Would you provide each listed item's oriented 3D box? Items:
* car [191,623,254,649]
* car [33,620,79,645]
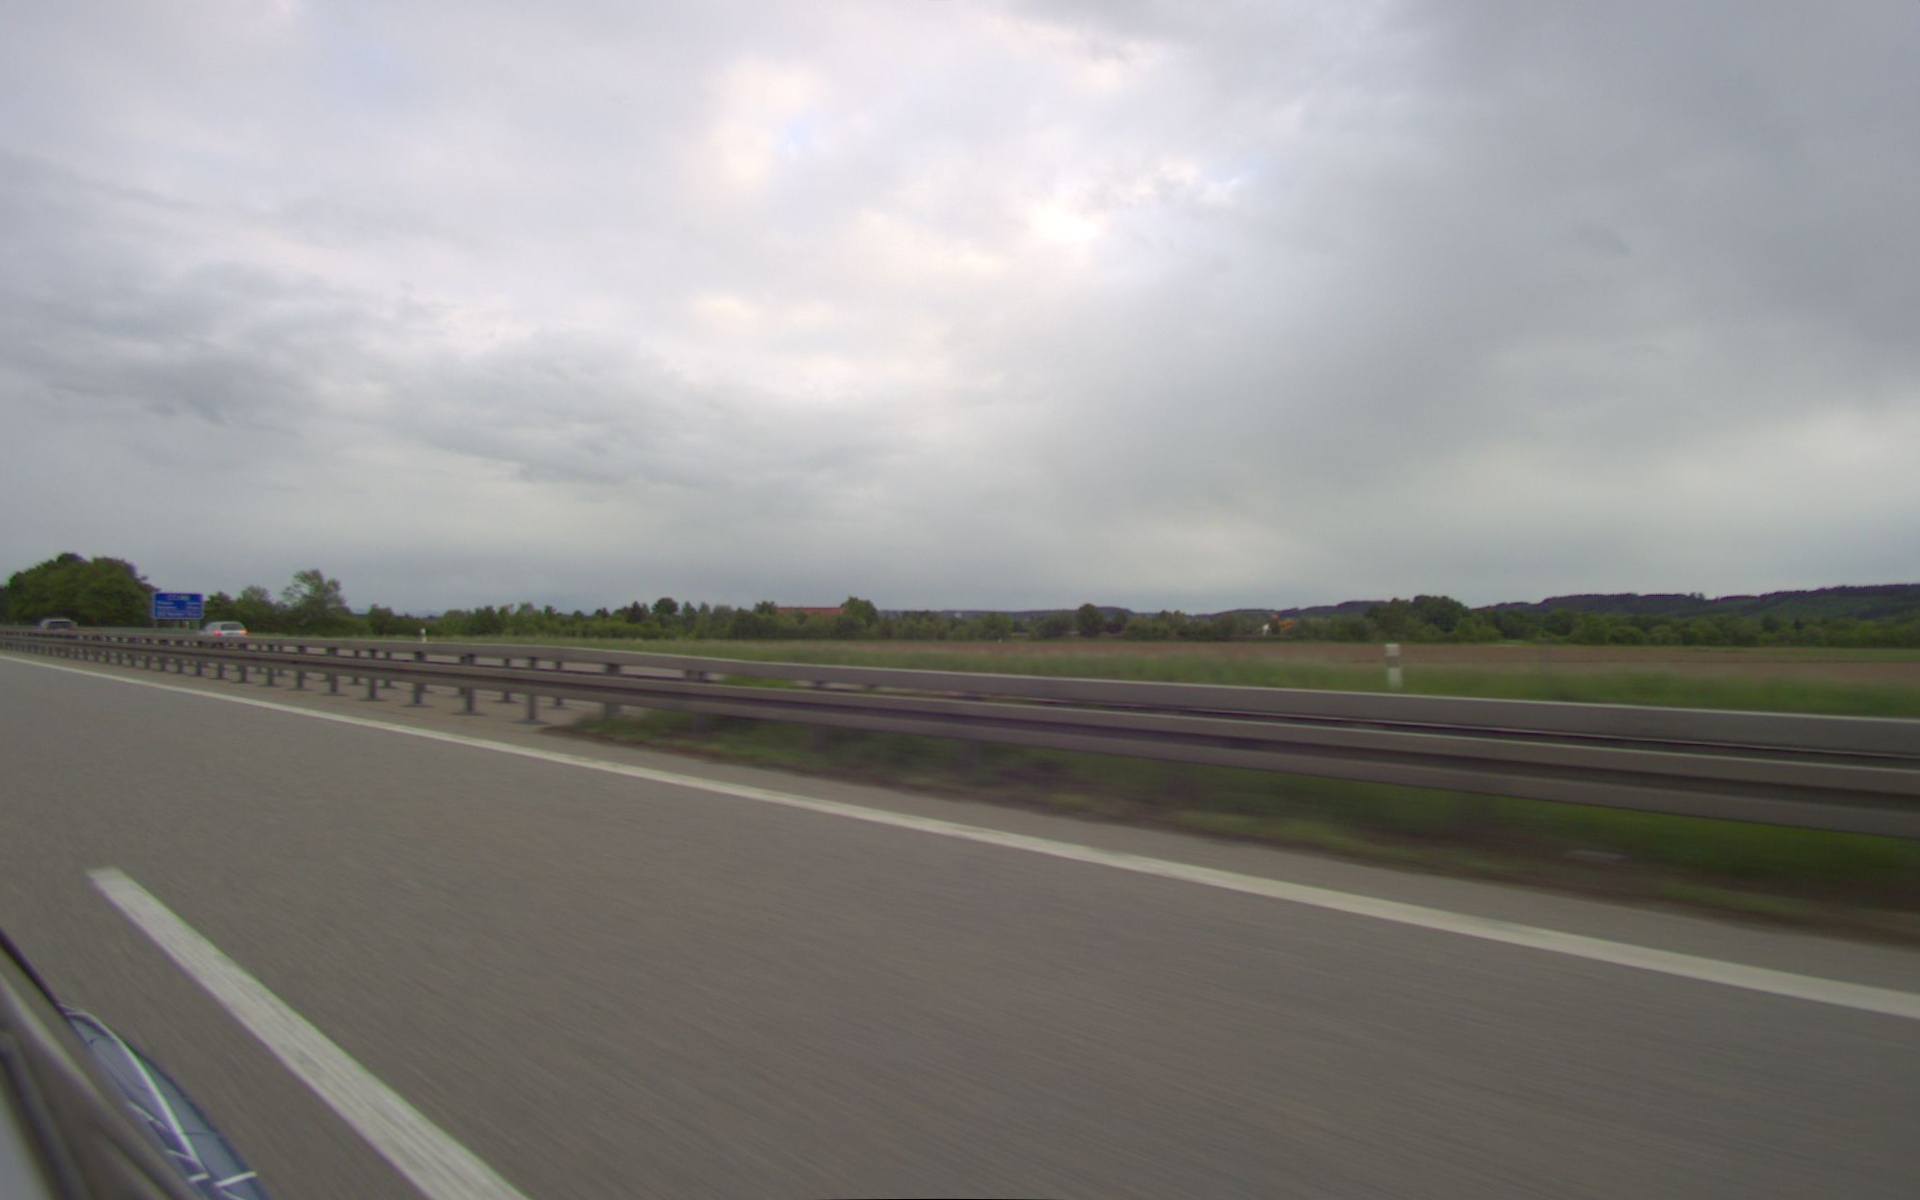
[{"bbox_3d":[-44.533,2.124,61.095,4.759,1.507,1.973,-1,-1,40],"label":"car"},{"bbox_3d":[-65.858,2.339,73.682,4.299,1.713,1.973,-1,0,41],"label":"car"}]
